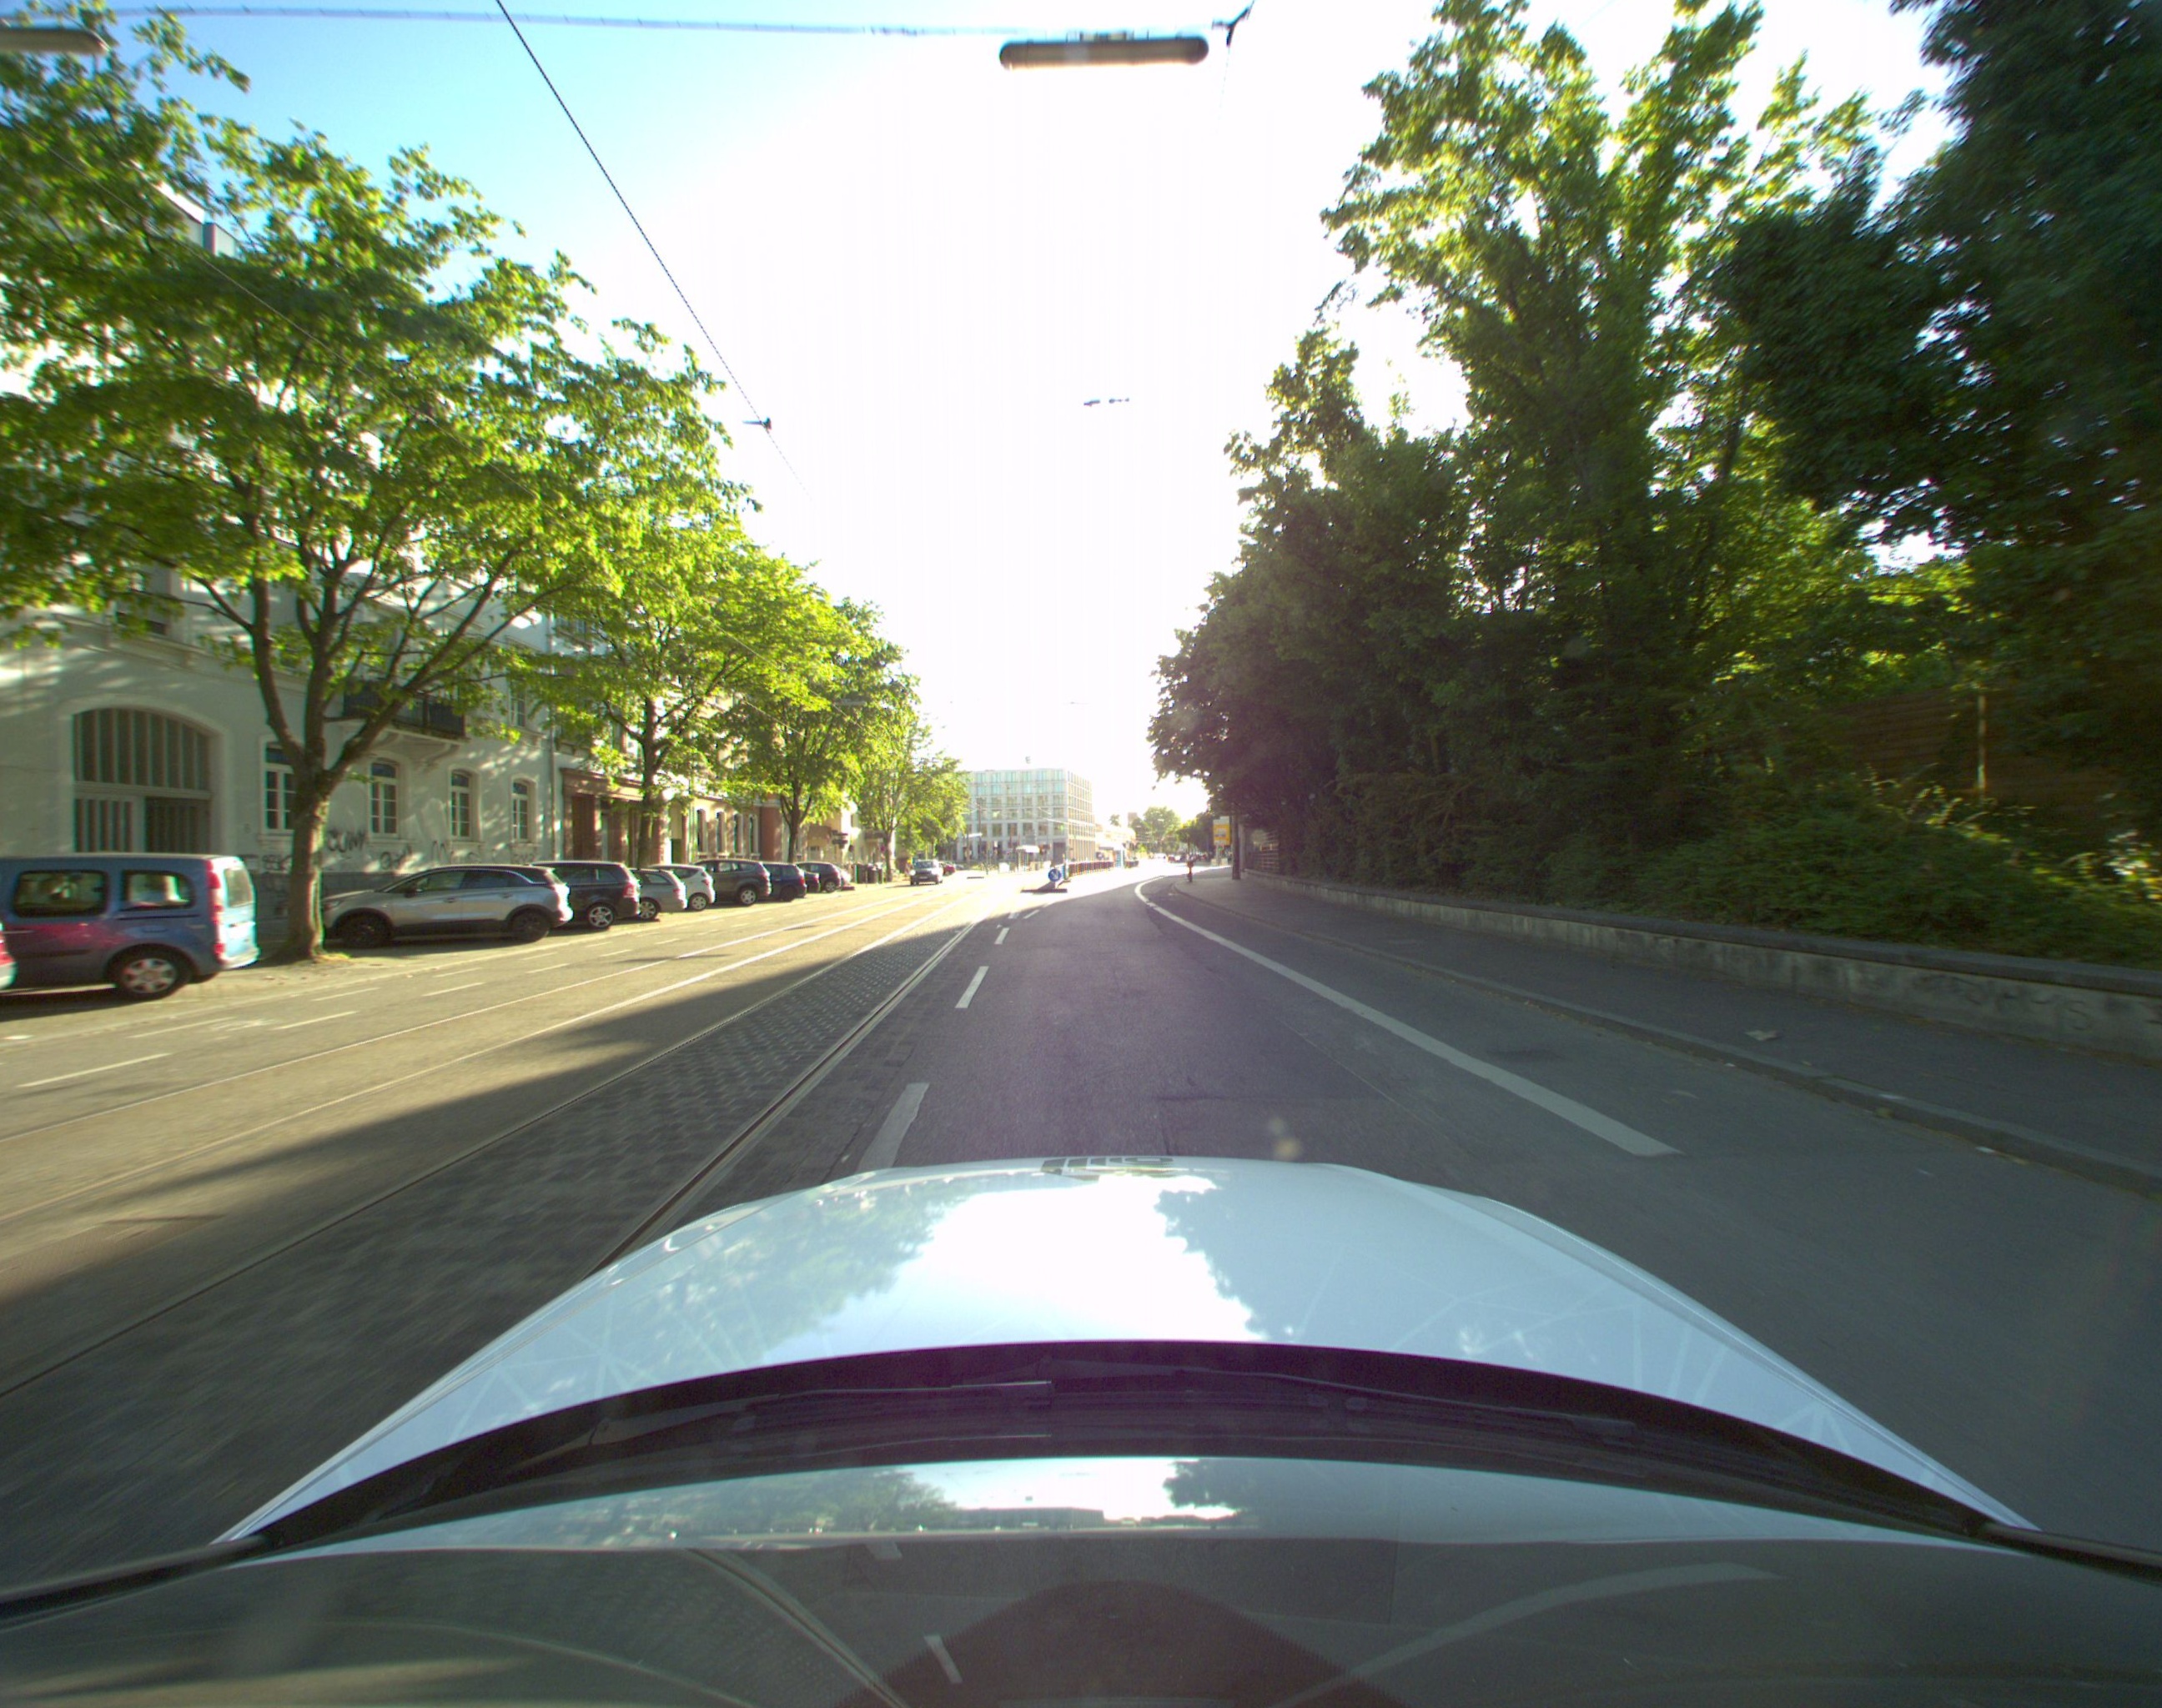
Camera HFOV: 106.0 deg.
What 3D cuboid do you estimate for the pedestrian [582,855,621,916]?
[{"bbox_3d":[-14.159,0.927,24.051,0.764,1.755,0.804,-1,-1,-13],"label":"pedestrian"}]

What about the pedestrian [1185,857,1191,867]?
[{"bbox_3d":[19.837,1.509,150.579,0.964,1.784,0.778,-1,-1,-6],"label":"pedestrian"}]

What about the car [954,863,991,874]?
[{"bbox_3d":[-14.208,1.940,106.551,4.518,1.350,1.578,1,-2,-22],"label":"car"}]

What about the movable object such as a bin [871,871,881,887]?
[{"bbox_3d":[-14.093,1.716,55.969,0.377,1.068,0.641,-1,-1,10],"label":"movable object such as a bin"}]

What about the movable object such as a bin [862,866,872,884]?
[{"bbox_3d":[-14.347,1.409,54.676,0.377,1.203,0.641,-1,-1,10],"label":"movable object such as a bin"}]

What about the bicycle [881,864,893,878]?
[{"bbox_3d":[-20.375,1.744,85.665,0.715,1.398,3.006,-1,-1,-4],"label":"bicycle"}]

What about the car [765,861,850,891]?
[{"bbox_3d":[-14.572,1.196,43.460,3.935,1.522,1.715,2,-1,-39],"label":"car"}]

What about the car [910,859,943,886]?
[{"bbox_3d":[-9.969,1.158,52.841,1.870,1.601,4.414,-1,0,-9],"label":"car"}]

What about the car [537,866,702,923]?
[{"bbox_3d":[-12.794,1.102,22.724,3.835,1.485,1.753,2,-2,-32],"label":"car"}]

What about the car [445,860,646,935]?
[{"bbox_3d":[-12.836,1.010,19.787,3.883,1.654,1.756,1,-2,-31],"label":"car"}]

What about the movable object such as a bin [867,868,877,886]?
[{"bbox_3d":[-14.213,1.548,55.327,0.377,1.242,0.641,-1,-1,10],"label":"movable object such as a bin"}]

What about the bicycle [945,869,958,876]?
[{"bbox_3d":[-20.703,3.003,130.302,1.908,1.122,0.793,-2,-1,16],"label":"bicycle"}]

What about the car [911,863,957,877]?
[{"bbox_3d":[-15.059,1.655,83.498,4.511,1.426,1.862,0,-2,-17],"label":"car"}]

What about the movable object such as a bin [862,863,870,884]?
[{"bbox_3d":[-14.748,1.319,55.792,0.377,1.427,0.389,-1,-1,10],"label":"movable object such as a bin"}]

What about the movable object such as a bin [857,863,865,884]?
[{"bbox_3d":[-14.877,1.331,54.962,0.377,1.427,0.389,-1,-1,10],"label":"movable object such as a bin"}]

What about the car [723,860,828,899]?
[{"bbox_3d":[-13.378,1.110,35.796,4.004,1.617,1.616,2,-1,-38],"label":"car"}]

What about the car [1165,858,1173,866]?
[{"bbox_3d":[20.343,1.892,187.837,1.674,1.737,3.519,0,-1,11],"label":"car"}]

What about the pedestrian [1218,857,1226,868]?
[{"bbox_3d":[21.541,1.264,124.650,1.036,1.721,1.035,-1,-1,-1],"label":"pedestrian"}]

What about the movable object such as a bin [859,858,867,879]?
[{"bbox_3d":[-14.819,0.994,55.400,0.377,1.427,0.387,-1,-1,10],"label":"movable object such as a bin"}]

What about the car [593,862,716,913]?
[{"bbox_3d":[-13.748,1.086,26.275,3.293,1.533,1.690,3,-2,-34],"label":"car"}]

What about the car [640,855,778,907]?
[{"bbox_3d":[-13.468,1.011,29.585,4.302,1.723,1.689,3,-3,-34],"label":"car"}]

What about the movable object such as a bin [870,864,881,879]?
[{"bbox_3d":[-15.921,1.331,63.140,0.423,1.126,1.148,-1,-1,4],"label":"movable object such as a bin"}]

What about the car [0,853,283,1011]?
[{"bbox_3d":[-12.986,0.899,9.972,4.214,1.798,1.768,2,-2,-31],"label":"car"}]

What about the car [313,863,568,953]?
[{"bbox_3d":[-12.886,1.032,16.744,3.883,1.654,1.755,1,-2,-32],"label":"car"}]

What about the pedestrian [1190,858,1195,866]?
[{"bbox_3d":[20.941,1.544,152.432,0.761,1.558,0.587,-1,-1,-6],"label":"pedestrian"}]

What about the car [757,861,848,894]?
[{"bbox_3d":[-13.855,1.173,40.556,3.937,1.508,1.672,2,-1,-34],"label":"car"}]

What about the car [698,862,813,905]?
[{"bbox_3d":[-13.071,1.159,32.844,4.004,1.617,1.616,2,-1,-38],"label":"car"}]

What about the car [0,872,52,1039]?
[{"bbox_3d":[-12.543,0.970,6.981,4.214,1.637,1.726,2,0,-31],"label":"car"}]
